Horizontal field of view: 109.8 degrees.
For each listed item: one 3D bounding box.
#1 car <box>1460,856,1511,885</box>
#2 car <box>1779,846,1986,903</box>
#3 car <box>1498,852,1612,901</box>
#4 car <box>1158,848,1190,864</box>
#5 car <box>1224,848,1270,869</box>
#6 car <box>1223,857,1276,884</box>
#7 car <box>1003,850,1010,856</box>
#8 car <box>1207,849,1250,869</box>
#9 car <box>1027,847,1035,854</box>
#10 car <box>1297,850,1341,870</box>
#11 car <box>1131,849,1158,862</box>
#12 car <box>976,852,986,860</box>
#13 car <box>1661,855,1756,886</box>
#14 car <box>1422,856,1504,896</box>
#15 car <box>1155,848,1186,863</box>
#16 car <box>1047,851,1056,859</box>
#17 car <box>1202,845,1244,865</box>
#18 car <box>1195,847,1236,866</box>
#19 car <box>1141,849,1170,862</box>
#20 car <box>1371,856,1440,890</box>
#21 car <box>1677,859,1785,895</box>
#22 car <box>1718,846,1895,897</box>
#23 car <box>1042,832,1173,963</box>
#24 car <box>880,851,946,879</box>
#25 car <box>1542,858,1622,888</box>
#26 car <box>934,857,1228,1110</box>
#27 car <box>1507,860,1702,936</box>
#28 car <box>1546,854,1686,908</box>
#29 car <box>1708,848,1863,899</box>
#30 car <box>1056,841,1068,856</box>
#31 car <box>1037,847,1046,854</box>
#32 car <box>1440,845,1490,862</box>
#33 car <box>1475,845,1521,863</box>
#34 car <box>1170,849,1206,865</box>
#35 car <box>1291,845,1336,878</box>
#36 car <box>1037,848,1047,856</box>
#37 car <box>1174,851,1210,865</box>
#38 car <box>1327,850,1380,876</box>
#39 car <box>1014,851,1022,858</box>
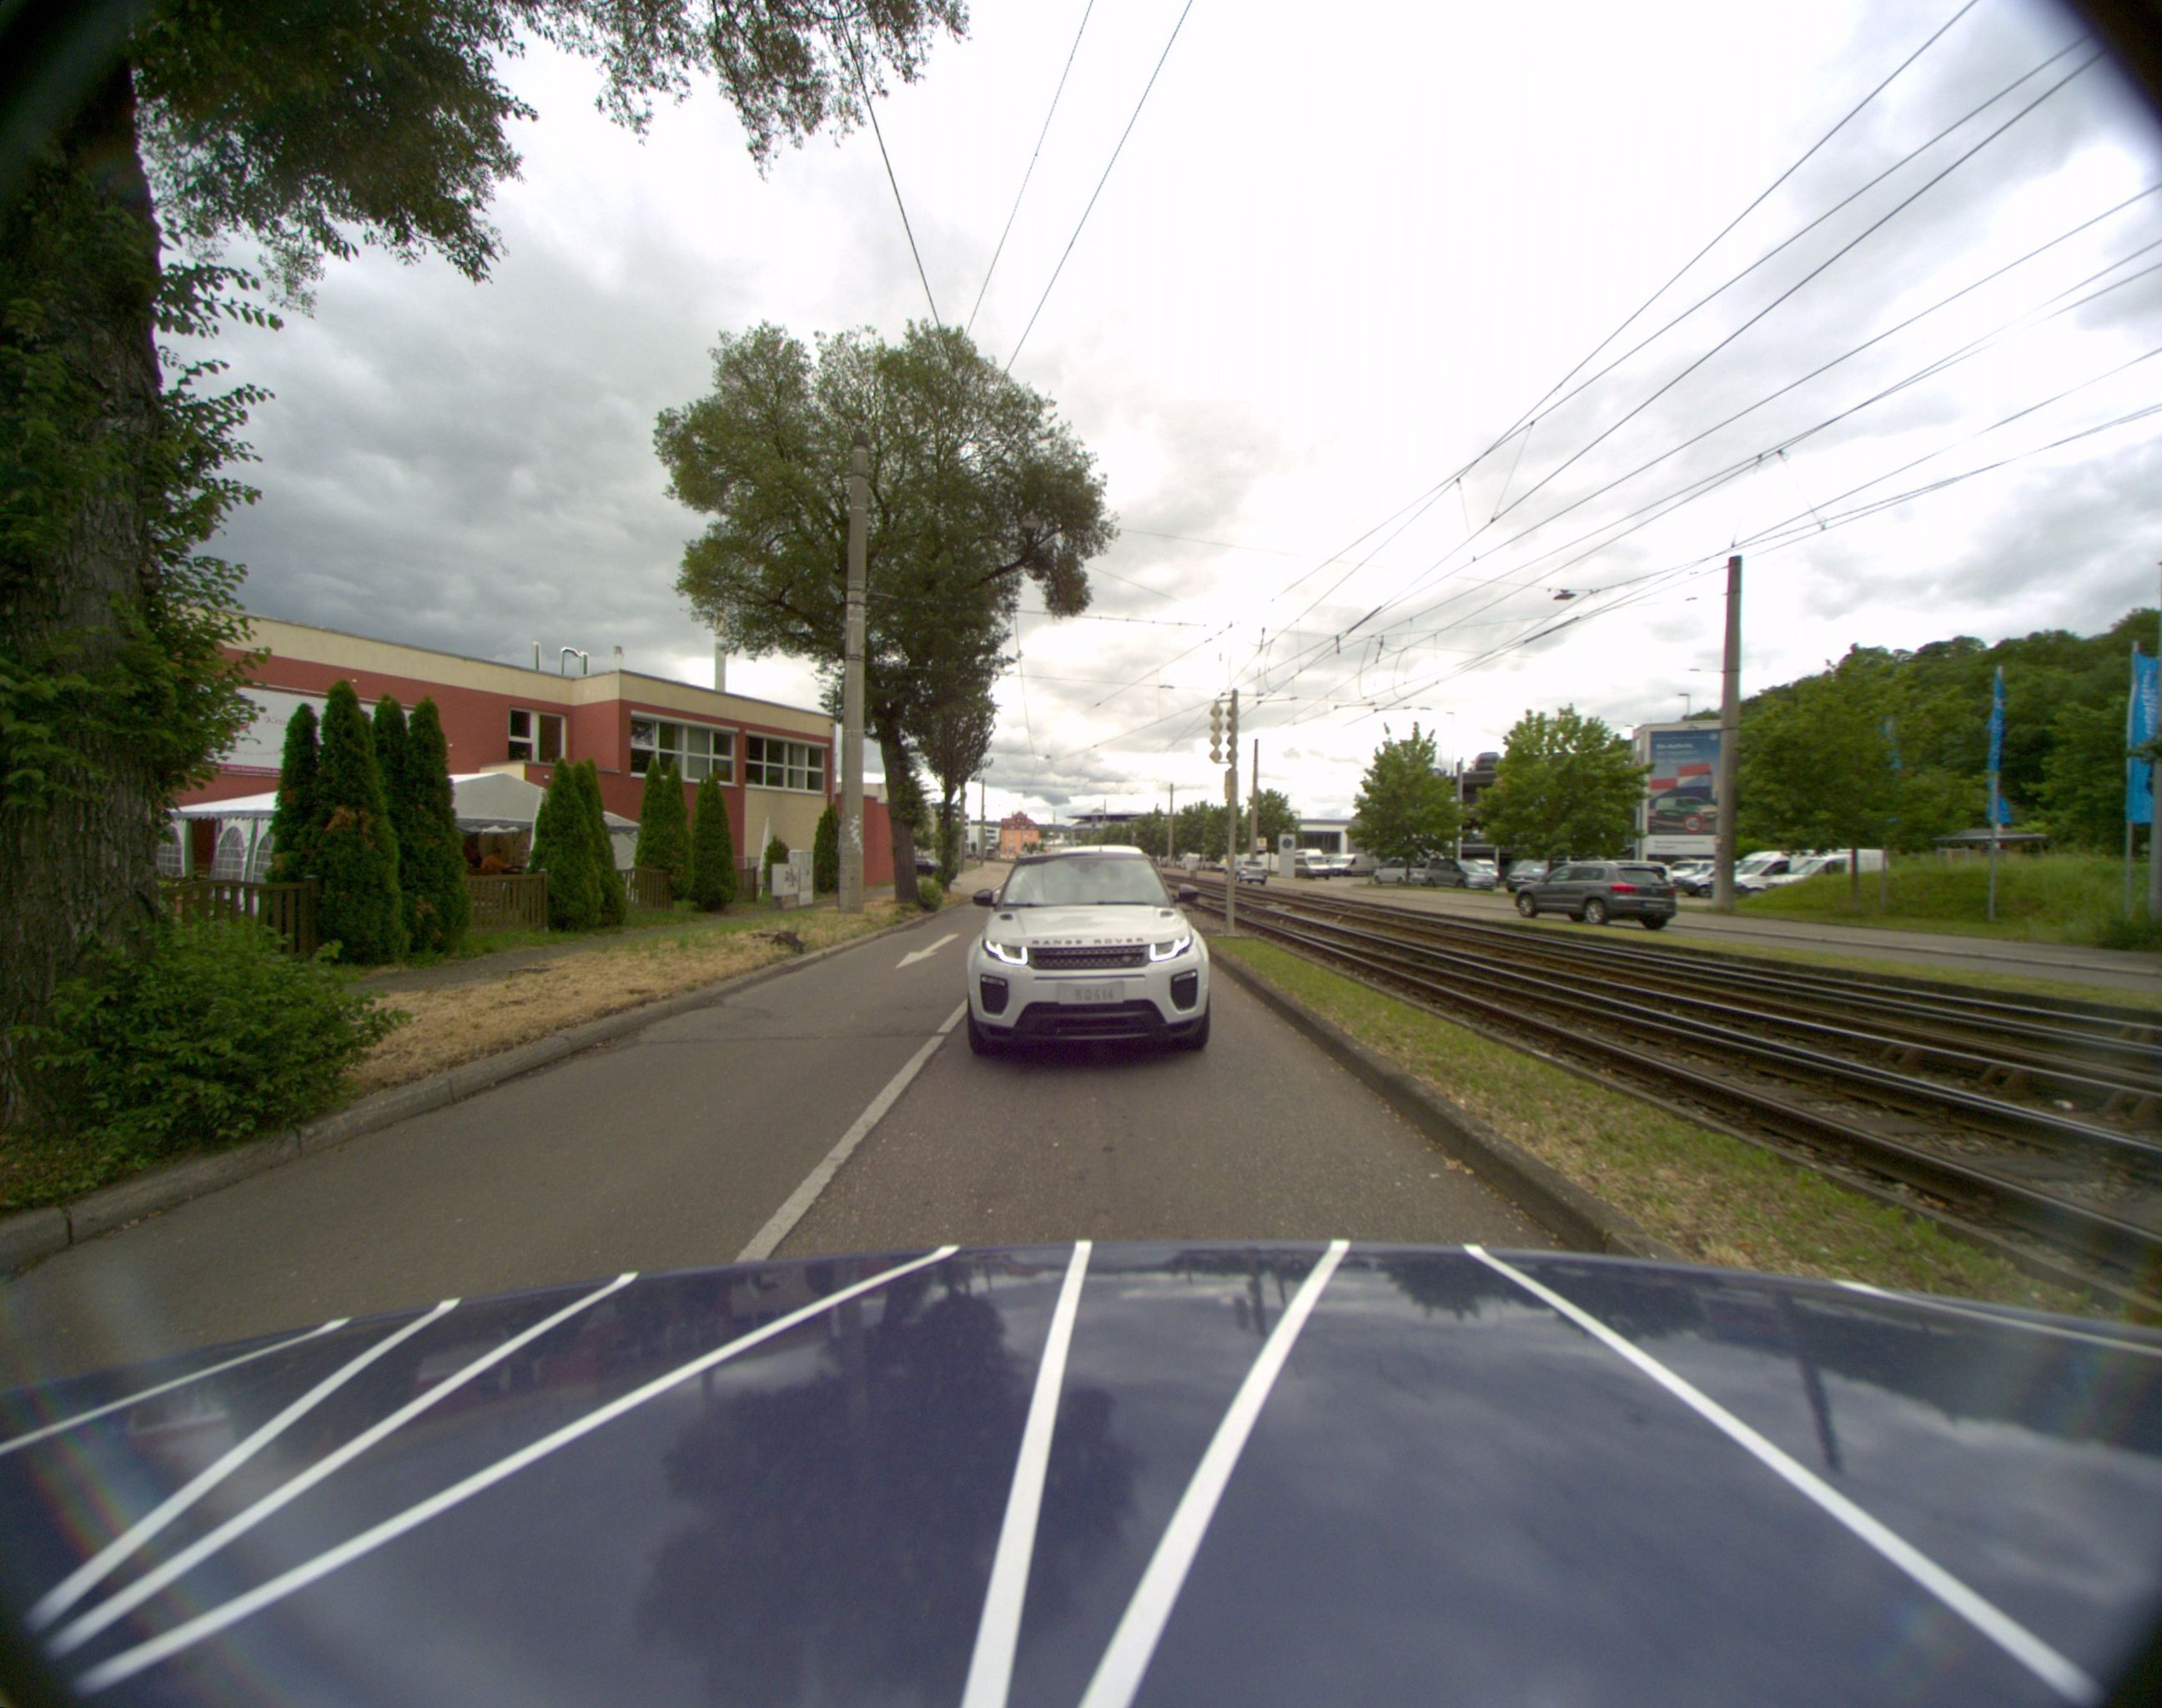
[{"bbox_3d":[28.883,1.149,54.406,1.900,1.882,4.600,-2,1,12],"label":"car"},{"bbox_3d":[34.677,0.911,33.125,5.850,2.254,2.056,-2,1,22],"label":"car"},{"bbox_3d":[24.681,1.140,39.668,4.774,2.254,1.979,-2,1,-3],"label":"car"},{"bbox_3d":[14.758,0.314,120.483,4.639,2.196,2.107,-2,1,-8],"label":"car"},{"bbox_3d":[18.770,0.509,86.086,4.639,2.196,2.107,-2,1,-8],"label":"car"},{"bbox_3d":[10.665,1.033,48.387,2.000,1.569,4.175,1,0,-6],"label":"car"},{"bbox_3d":[-24.120,-0.380,246.772,2.000,2.002,3.997,-2,1,-7],"label":"car"},{"bbox_3d":[17.699,0.607,91.173,4.639,2.196,2.107,-2,1,-8],"label":"car"},{"bbox_3d":[-14.199,-0.938,217.481,2.000,2.002,3.997,-2,1,-7],"label":"car"},{"bbox_3d":[29.119,0.721,93.025,4.636,2.196,2.108,-2,1,-1],"label":"car"},{"bbox_3d":[11.846,0.193,141.317,4.639,2.196,2.107,-2,1,-8],"label":"car"},{"bbox_3d":[-21.873,0.459,166.020,1.869,1.740,3.998,-2,1,-5],"label":"car"},{"bbox_3d":[39.877,1.049,48.394,4.228,1.826,1.983,-2,1,19],"label":"car"},{"bbox_3d":[22.933,1.266,45.865,2.142,2.104,4.773,-2,1,-7],"label":"car"},{"bbox_3d":[14.481,0.297,122.918,4.639,2.196,2.107,-2,1,-8],"label":"car"},{"bbox_3d":[-7.502,0.316,191.872,2.000,2.002,3.997,-2,1,-7],"label":"car"},{"bbox_3d":[17.491,0.142,93.609,4.639,2.196,2.107,-2,1,-8],"label":"car"},{"bbox_3d":[17.070,0.323,96.393,4.639,2.196,2.107,-2,1,-8],"label":"car"},{"bbox_3d":[13.011,0.243,132.835,4.639,2.196,2.107,-2,1,-8],"label":"car"},{"bbox_3d":[22.130,1.235,52.101,2.142,2.104,4.772,-2,1,-8],"label":"car"},{"bbox_3d":[36.659,1.285,42.983,4.228,1.826,1.983,-2,1,19],"label":"car"},{"bbox_3d":[35.018,0.856,36.909,5.839,2.254,2.056,-2,1,22],"label":"car"},{"bbox_3d":[0.417,0.645,14.095,1.998,1.990,5.034,0,0,0],"label":"car"},{"bbox_3d":[-10.956,0.676,49.796,3.999,1.636,1.895,-2,1,-6],"label":"car"},{"bbox_3d":[34.402,1.302,52.314,4.228,1.826,1.983,-2,1,19],"label":"car"},{"bbox_3d":[0.001,0.891,7.307,1.998,1.680,4.268,0,1,0],"label":"car"},{"bbox_3d":[13.799,1.076,20.380,1.906,1.708,4.133,3,0,-9],"label":"car"},{"bbox_3d":[25.276,1.241,35.997,5.269,2.254,1.999,-2,1,-3],"label":"car"},{"bbox_3d":[36.820,1.003,39.905,5.652,2.446,1.983,-2,1,19],"label":"car"},{"bbox_3d":[-3.975,-1.223,159.917,2.410,2.931,4.747,-2,1,-2],"label":"car"},{"bbox_3d":[-10.638,-0.958,205.068,2.000,2.002,3.997,-2,1,-7],"label":"car"},{"bbox_3d":[46.339,-0.110,91.797,5.216,1.826,1.983,-2,1,21],"label":"car"},{"bbox_3d":[47.088,-0.024,85.849,4.227,1.826,1.983,-2,1,21],"label":"car"},{"bbox_3d":[15.542,0.395,110.520,4.639,2.196,2.107,-2,1,-8],"label":"car"},{"bbox_3d":[22.404,0.677,73.592,2.320,2.994,6.157,-2,1,0],"label":"car"},{"bbox_3d":[-9.524,-0.478,184.874,2.000,2.002,3.997,-2,1,-7],"label":"car"},{"bbox_3d":[15.761,0.597,108.119,4.639,1.829,2.107,-2,1,-8],"label":"car"},{"bbox_3d":[30.326,0.975,84.562,6.057,2.608,2.316,-3,1,-34],"label":"car"},{"bbox_3d":[-18.455,0.165,221.528,2.000,2.002,3.997,-2,1,-7],"label":"car"}]
